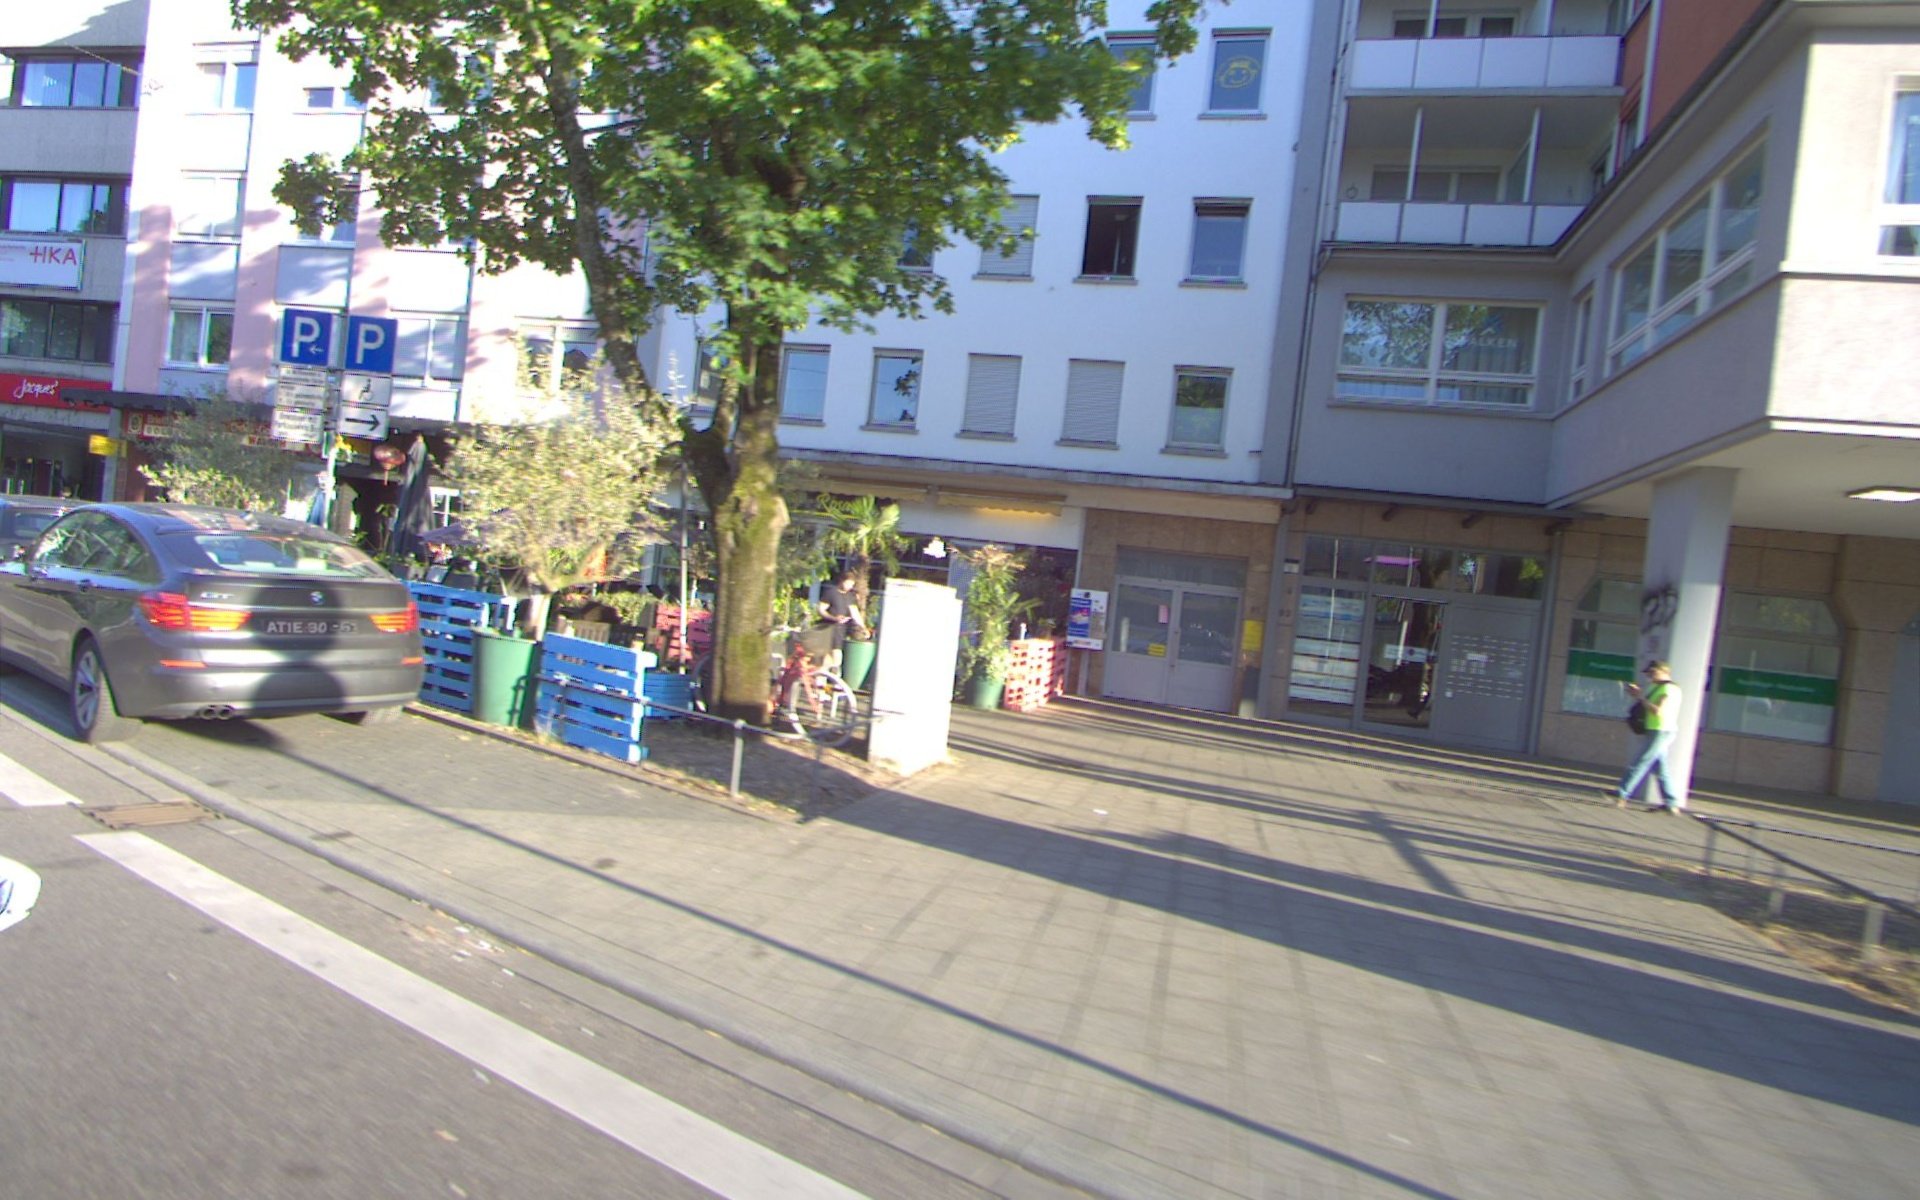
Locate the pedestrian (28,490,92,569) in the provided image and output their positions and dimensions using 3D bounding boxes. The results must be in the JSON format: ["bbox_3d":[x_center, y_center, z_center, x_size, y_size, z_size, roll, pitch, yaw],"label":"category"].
[{"bbox_3d":[-20.247,-1.584,22.636,0.840,1.649,0.640,7,3,15],"label":"pedestrian"}]

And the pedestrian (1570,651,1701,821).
[{"bbox_3d":[7.632,1.512,11.408,0.860,1.746,0.656,7,1,13],"label":"pedestrian"}]

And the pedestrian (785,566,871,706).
[{"bbox_3d":[-1.768,0.471,13.570,0.759,1.748,0.894,7,2,7],"label":"pedestrian"}]

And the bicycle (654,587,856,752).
[{"bbox_3d":[-1.928,0.599,9.246,2.050,1.225,0.446,7,0,37],"label":"bicycle"}]

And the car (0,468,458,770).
[{"bbox_3d":[-6.195,-0.002,7.956,4.736,1.690,1.806,7,-1,35],"label":"car"}]

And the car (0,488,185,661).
[{"bbox_3d":[-10.201,-0.396,10.974,4.004,1.553,1.651,7,-1,37],"label":"car"}]
